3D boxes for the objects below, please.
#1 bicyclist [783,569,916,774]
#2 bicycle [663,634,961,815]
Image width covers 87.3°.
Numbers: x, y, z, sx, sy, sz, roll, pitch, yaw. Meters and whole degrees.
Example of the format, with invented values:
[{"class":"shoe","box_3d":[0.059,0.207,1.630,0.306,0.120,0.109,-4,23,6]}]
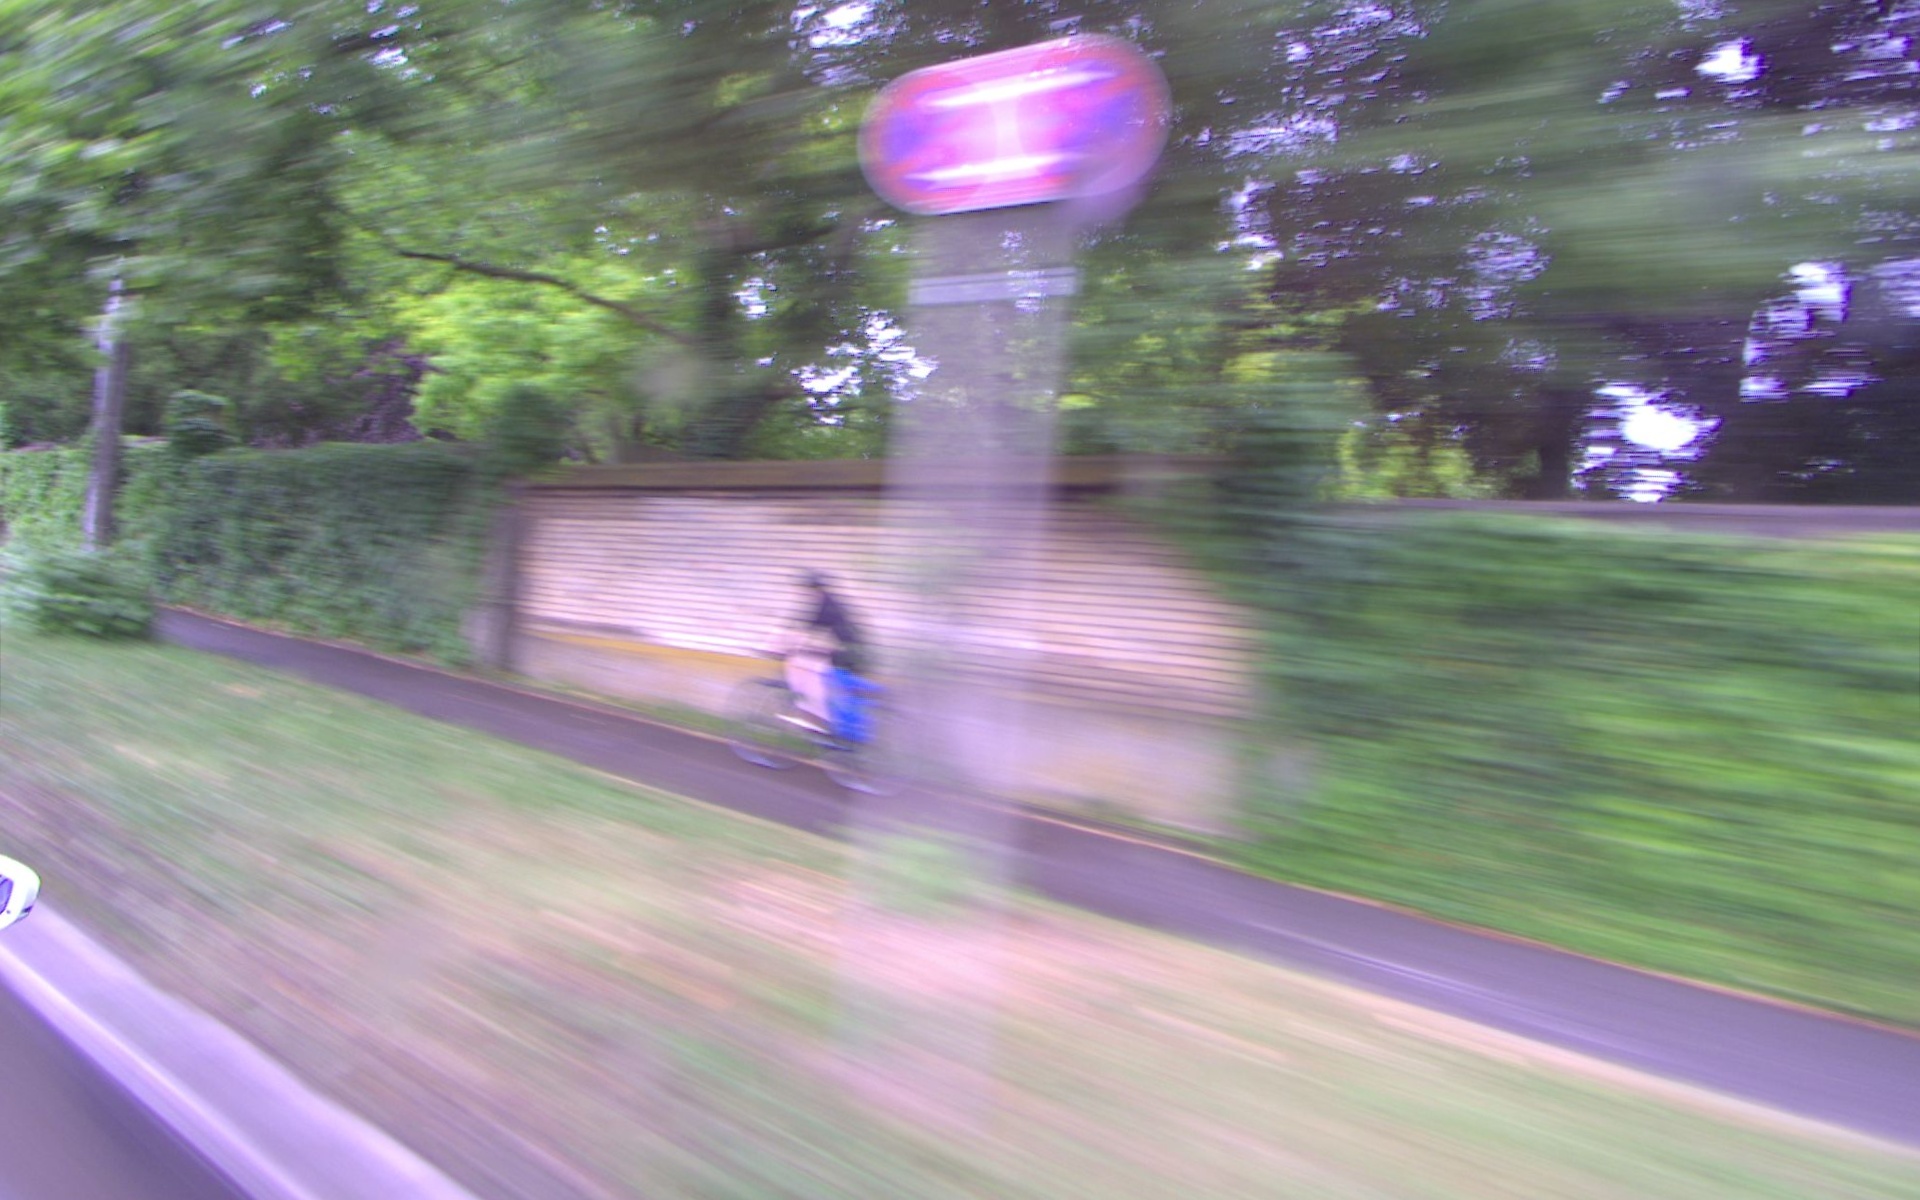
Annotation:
[{"class":"bicyclist","box_3d":[-0.817,0.516,7.473,0.656,1.407,0.535,7,1,35]},{"class":"bicycle","box_3d":[-1.211,0.885,7.742,2.509,0.960,0.543,6,0,35]}]
